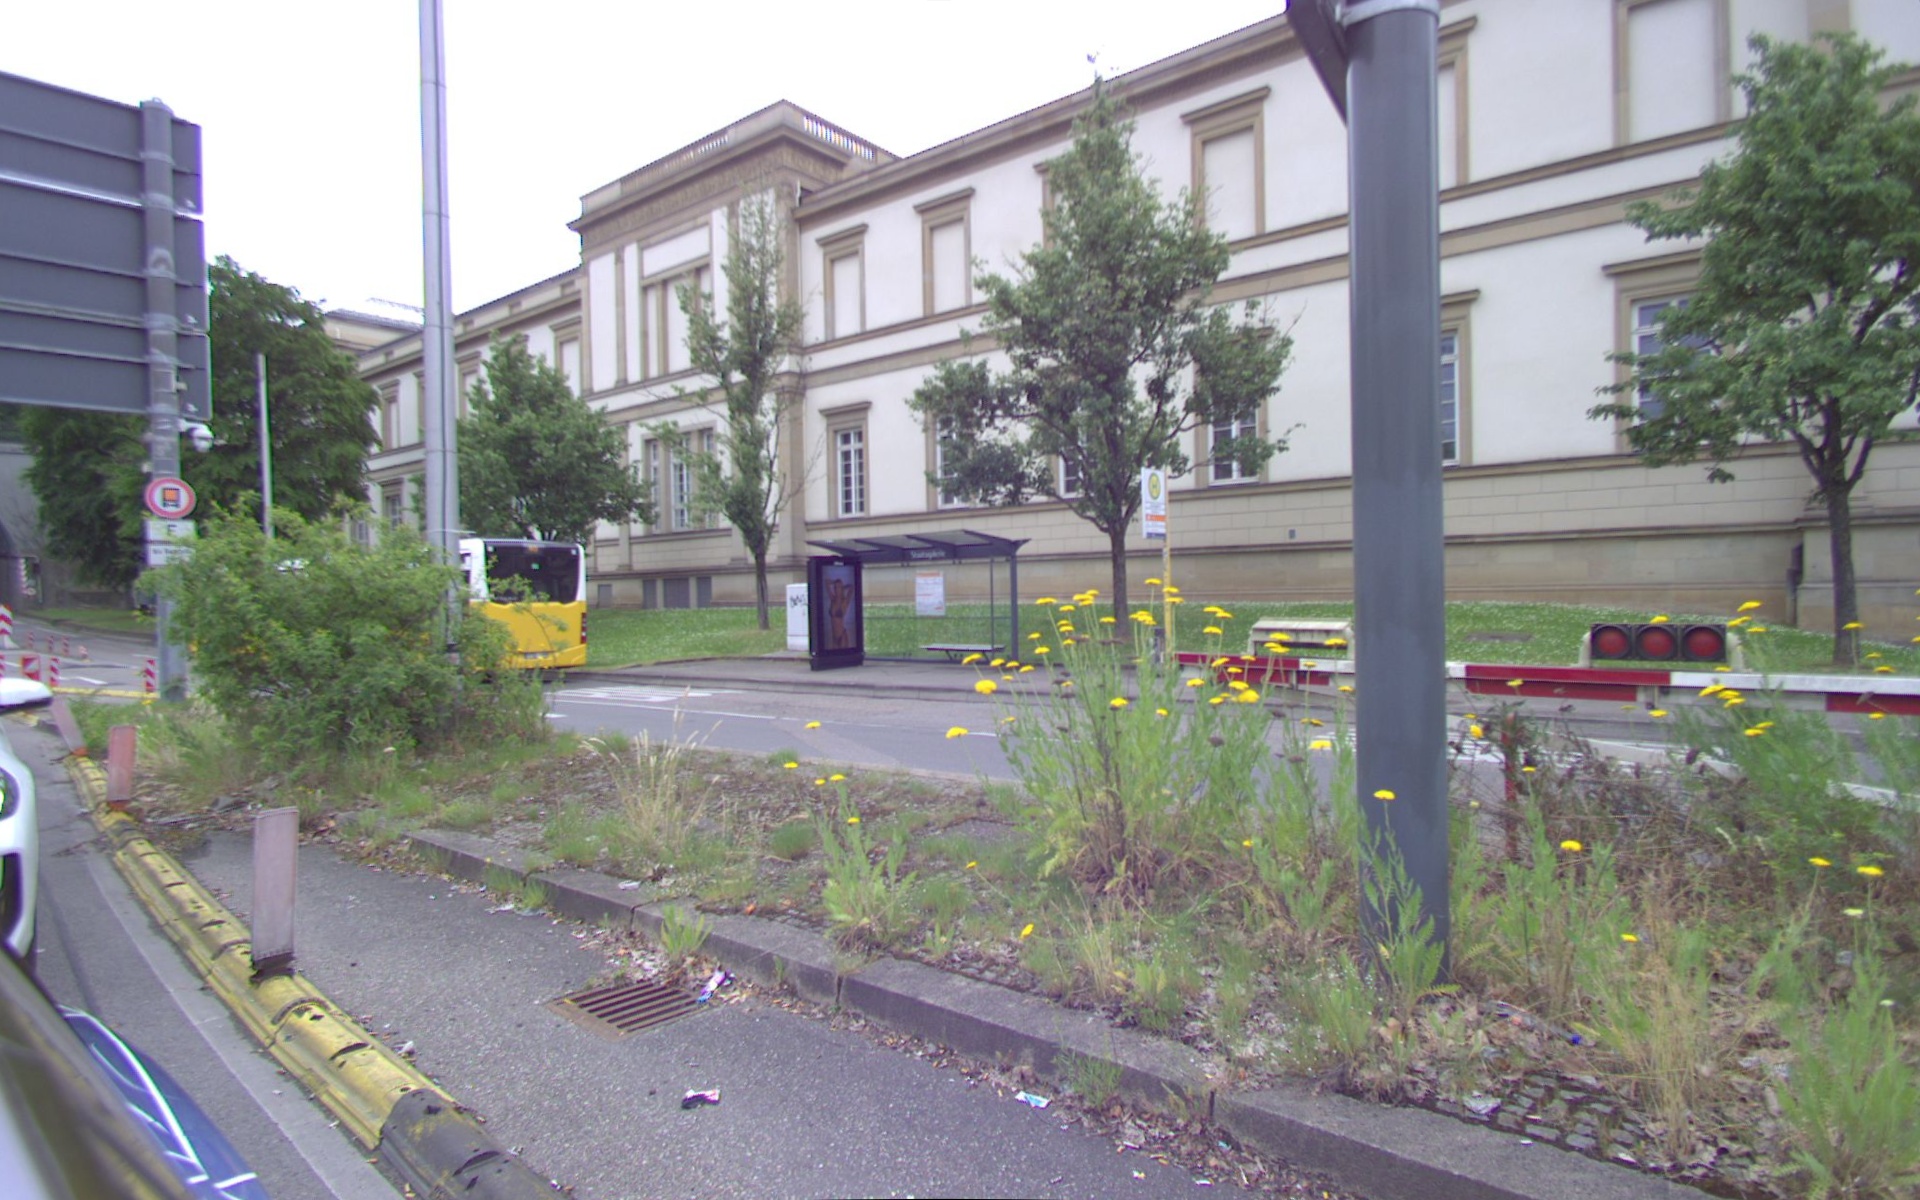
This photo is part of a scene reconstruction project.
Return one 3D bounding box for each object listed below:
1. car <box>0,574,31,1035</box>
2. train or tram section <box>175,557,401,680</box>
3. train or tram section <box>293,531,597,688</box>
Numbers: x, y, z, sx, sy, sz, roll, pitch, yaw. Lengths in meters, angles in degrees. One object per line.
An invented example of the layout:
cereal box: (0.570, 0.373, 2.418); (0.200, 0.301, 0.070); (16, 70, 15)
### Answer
car: (-5.231, 0.720, 4.199); (3.911, 1.568, 1.733); (-1, 0, 43)
train or tram section: (-19.817, 0.576, 29.553); (9.363, 3.094, 2.668); (-1, -2, 38)
train or tram section: (-12.393, 0.296, 23.822); (9.322, 3.094, 2.668); (-1, -2, 38)
